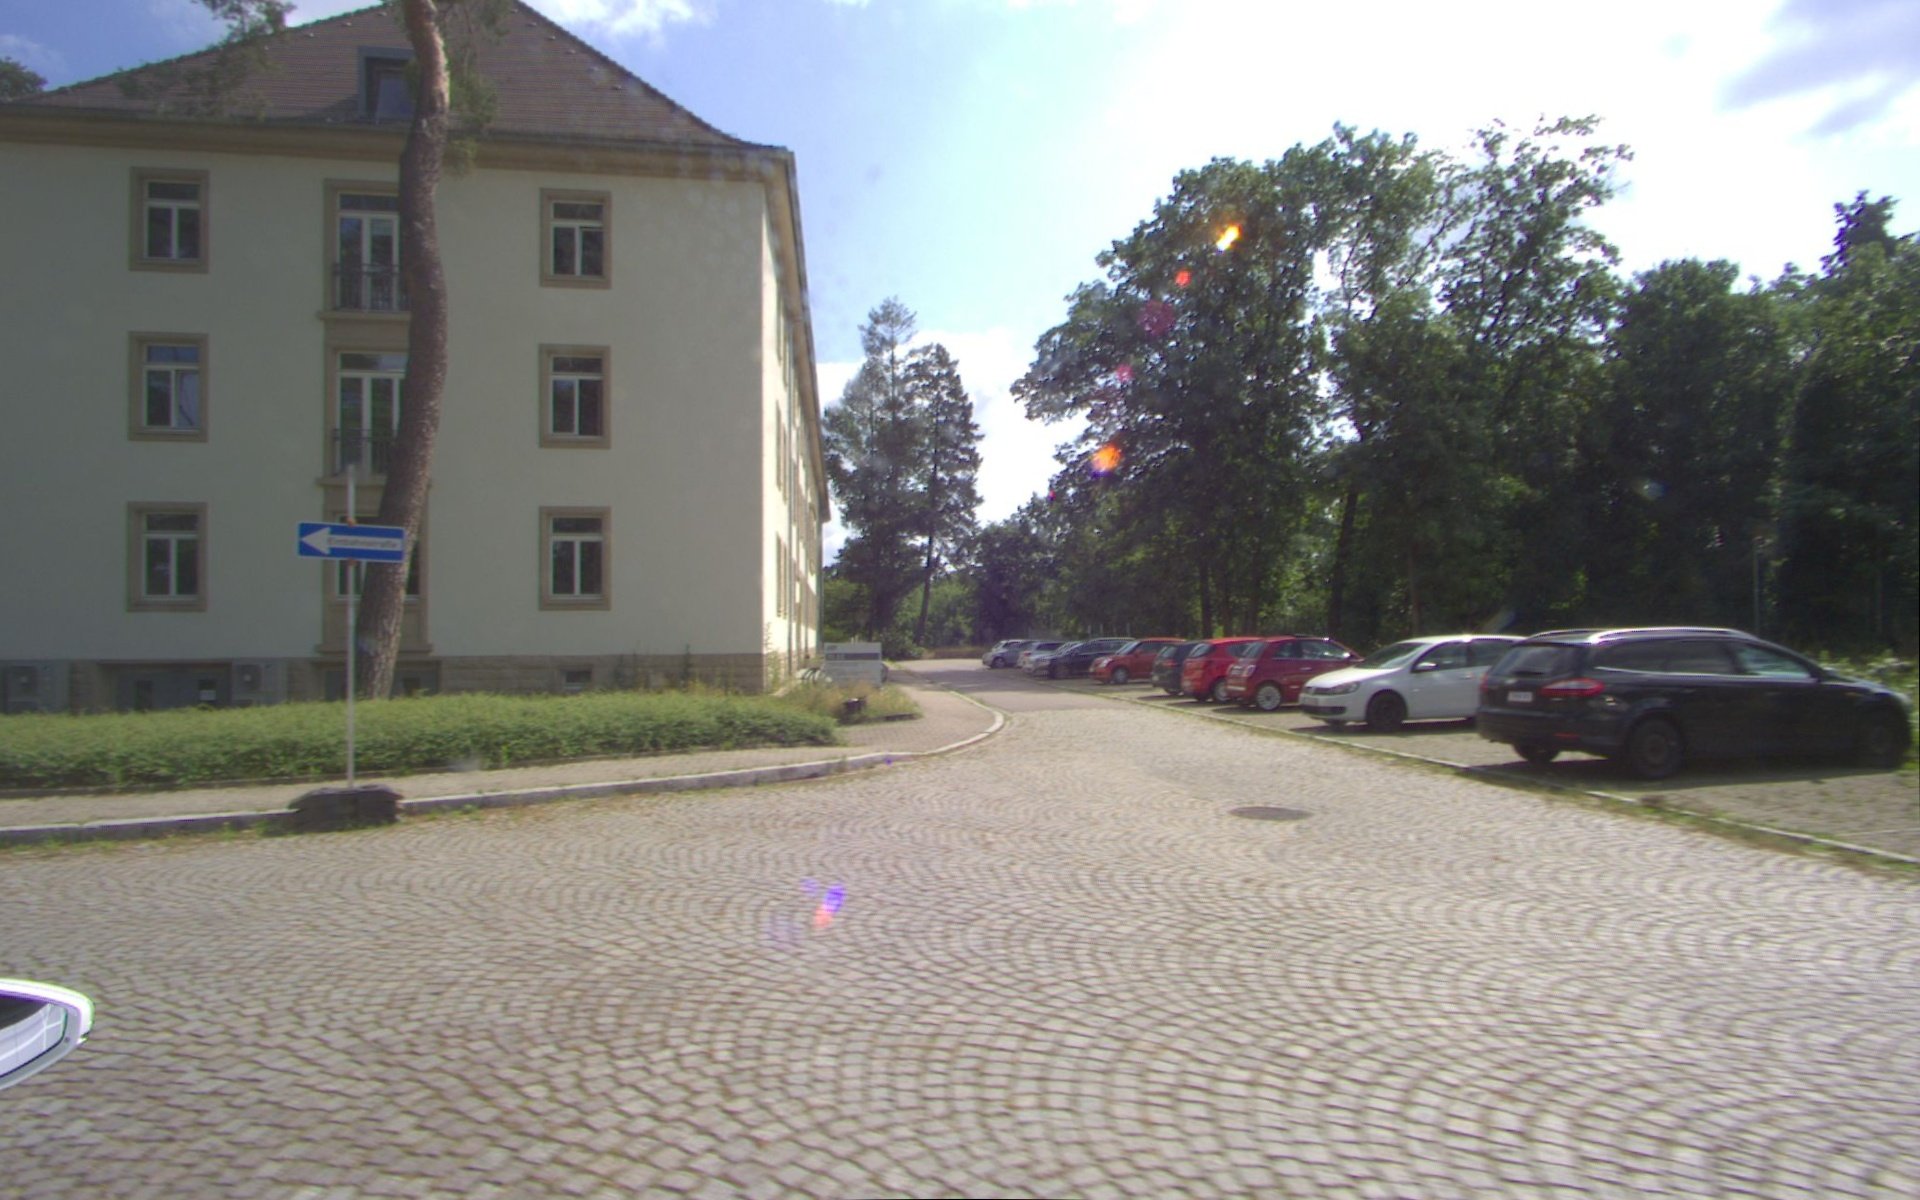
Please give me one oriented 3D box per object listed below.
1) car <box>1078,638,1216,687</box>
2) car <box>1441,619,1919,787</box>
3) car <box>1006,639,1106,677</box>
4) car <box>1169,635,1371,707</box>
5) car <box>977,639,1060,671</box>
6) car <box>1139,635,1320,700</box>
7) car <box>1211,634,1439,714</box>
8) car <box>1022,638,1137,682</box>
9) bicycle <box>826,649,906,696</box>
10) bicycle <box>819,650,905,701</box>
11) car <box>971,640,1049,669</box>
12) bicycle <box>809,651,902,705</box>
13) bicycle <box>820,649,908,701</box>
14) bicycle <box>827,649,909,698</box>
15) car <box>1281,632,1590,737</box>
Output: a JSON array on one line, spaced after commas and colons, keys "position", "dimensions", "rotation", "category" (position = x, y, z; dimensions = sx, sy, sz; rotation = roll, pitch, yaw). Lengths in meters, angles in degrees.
[{"position": [6.281, 2.093, 33.923], "dimensions": [4.198, 1.502, 1.821], "rotation": [-1, -3, -6], "category": "car"}, {"position": [8.214, 1.076, 11.274], "dimensions": [4.776, 1.572, 1.880], "rotation": [-1, -3, -9], "category": "car"}, {"position": [4.207, 2.566, 44.467], "dimensions": [4.120, 1.502, 1.821], "rotation": [-1, -3, -6], "category": "car"}, {"position": [7.202, 1.650, 23.495], "dimensions": [4.120, 1.502, 1.760], "rotation": [-1, -2, -6], "category": "car"}, {"position": [3.079, 2.917, 53.176], "dimensions": [4.120, 1.502, 1.821], "rotation": [-1, -3, -6], "category": "car"}, {"position": [6.963, 1.743, 26.113], "dimensions": [4.120, 1.502, 1.821], "rotation": [-1, -3, -6], "category": "car"}, {"position": [7.689, 1.541, 21.333], "dimensions": [4.140, 1.502, 1.821], "rotation": [-1, -3, -6], "category": "car"}, {"position": [4.623, 2.351, 39.153], "dimensions": [4.120, 1.562, 1.821], "rotation": [-1, -2, -6], "category": "car"}, {"position": [-2.620, 2.011, 28.033], "dimensions": [2.186, 1.276, 0.623], "rotation": [0, -2, -5], "category": "bicycle"}, {"position": [-2.548, 1.964, 26.119], "dimensions": [2.186, 1.276, 0.623], "rotation": [0, -2, -1], "category": "bicycle"}, {"position": [2.745, 3.041, 55.752], "dimensions": [4.120, 1.502, 1.821], "rotation": [-1, -3, -6], "category": "car"}, {"position": [-2.535, 1.884, 24.368], "dimensions": [2.186, 1.276, 0.623], "rotation": [0, -2, -1], "category": "bicycle"}, {"position": [-2.417, 1.882, 25.237], "dimensions": [2.186, 1.276, 0.623], "rotation": [0, -2, -5], "category": "bicycle"}, {"position": [-2.476, 1.964, 27.035], "dimensions": [2.186, 1.276, 0.623], "rotation": [0, -2, -5], "category": "bicycle"}, {"position": [7.782, 1.357, 16.571], "dimensions": [4.329, 1.502, 1.766], "rotation": [-1, -3, -9], "category": "car"}]
